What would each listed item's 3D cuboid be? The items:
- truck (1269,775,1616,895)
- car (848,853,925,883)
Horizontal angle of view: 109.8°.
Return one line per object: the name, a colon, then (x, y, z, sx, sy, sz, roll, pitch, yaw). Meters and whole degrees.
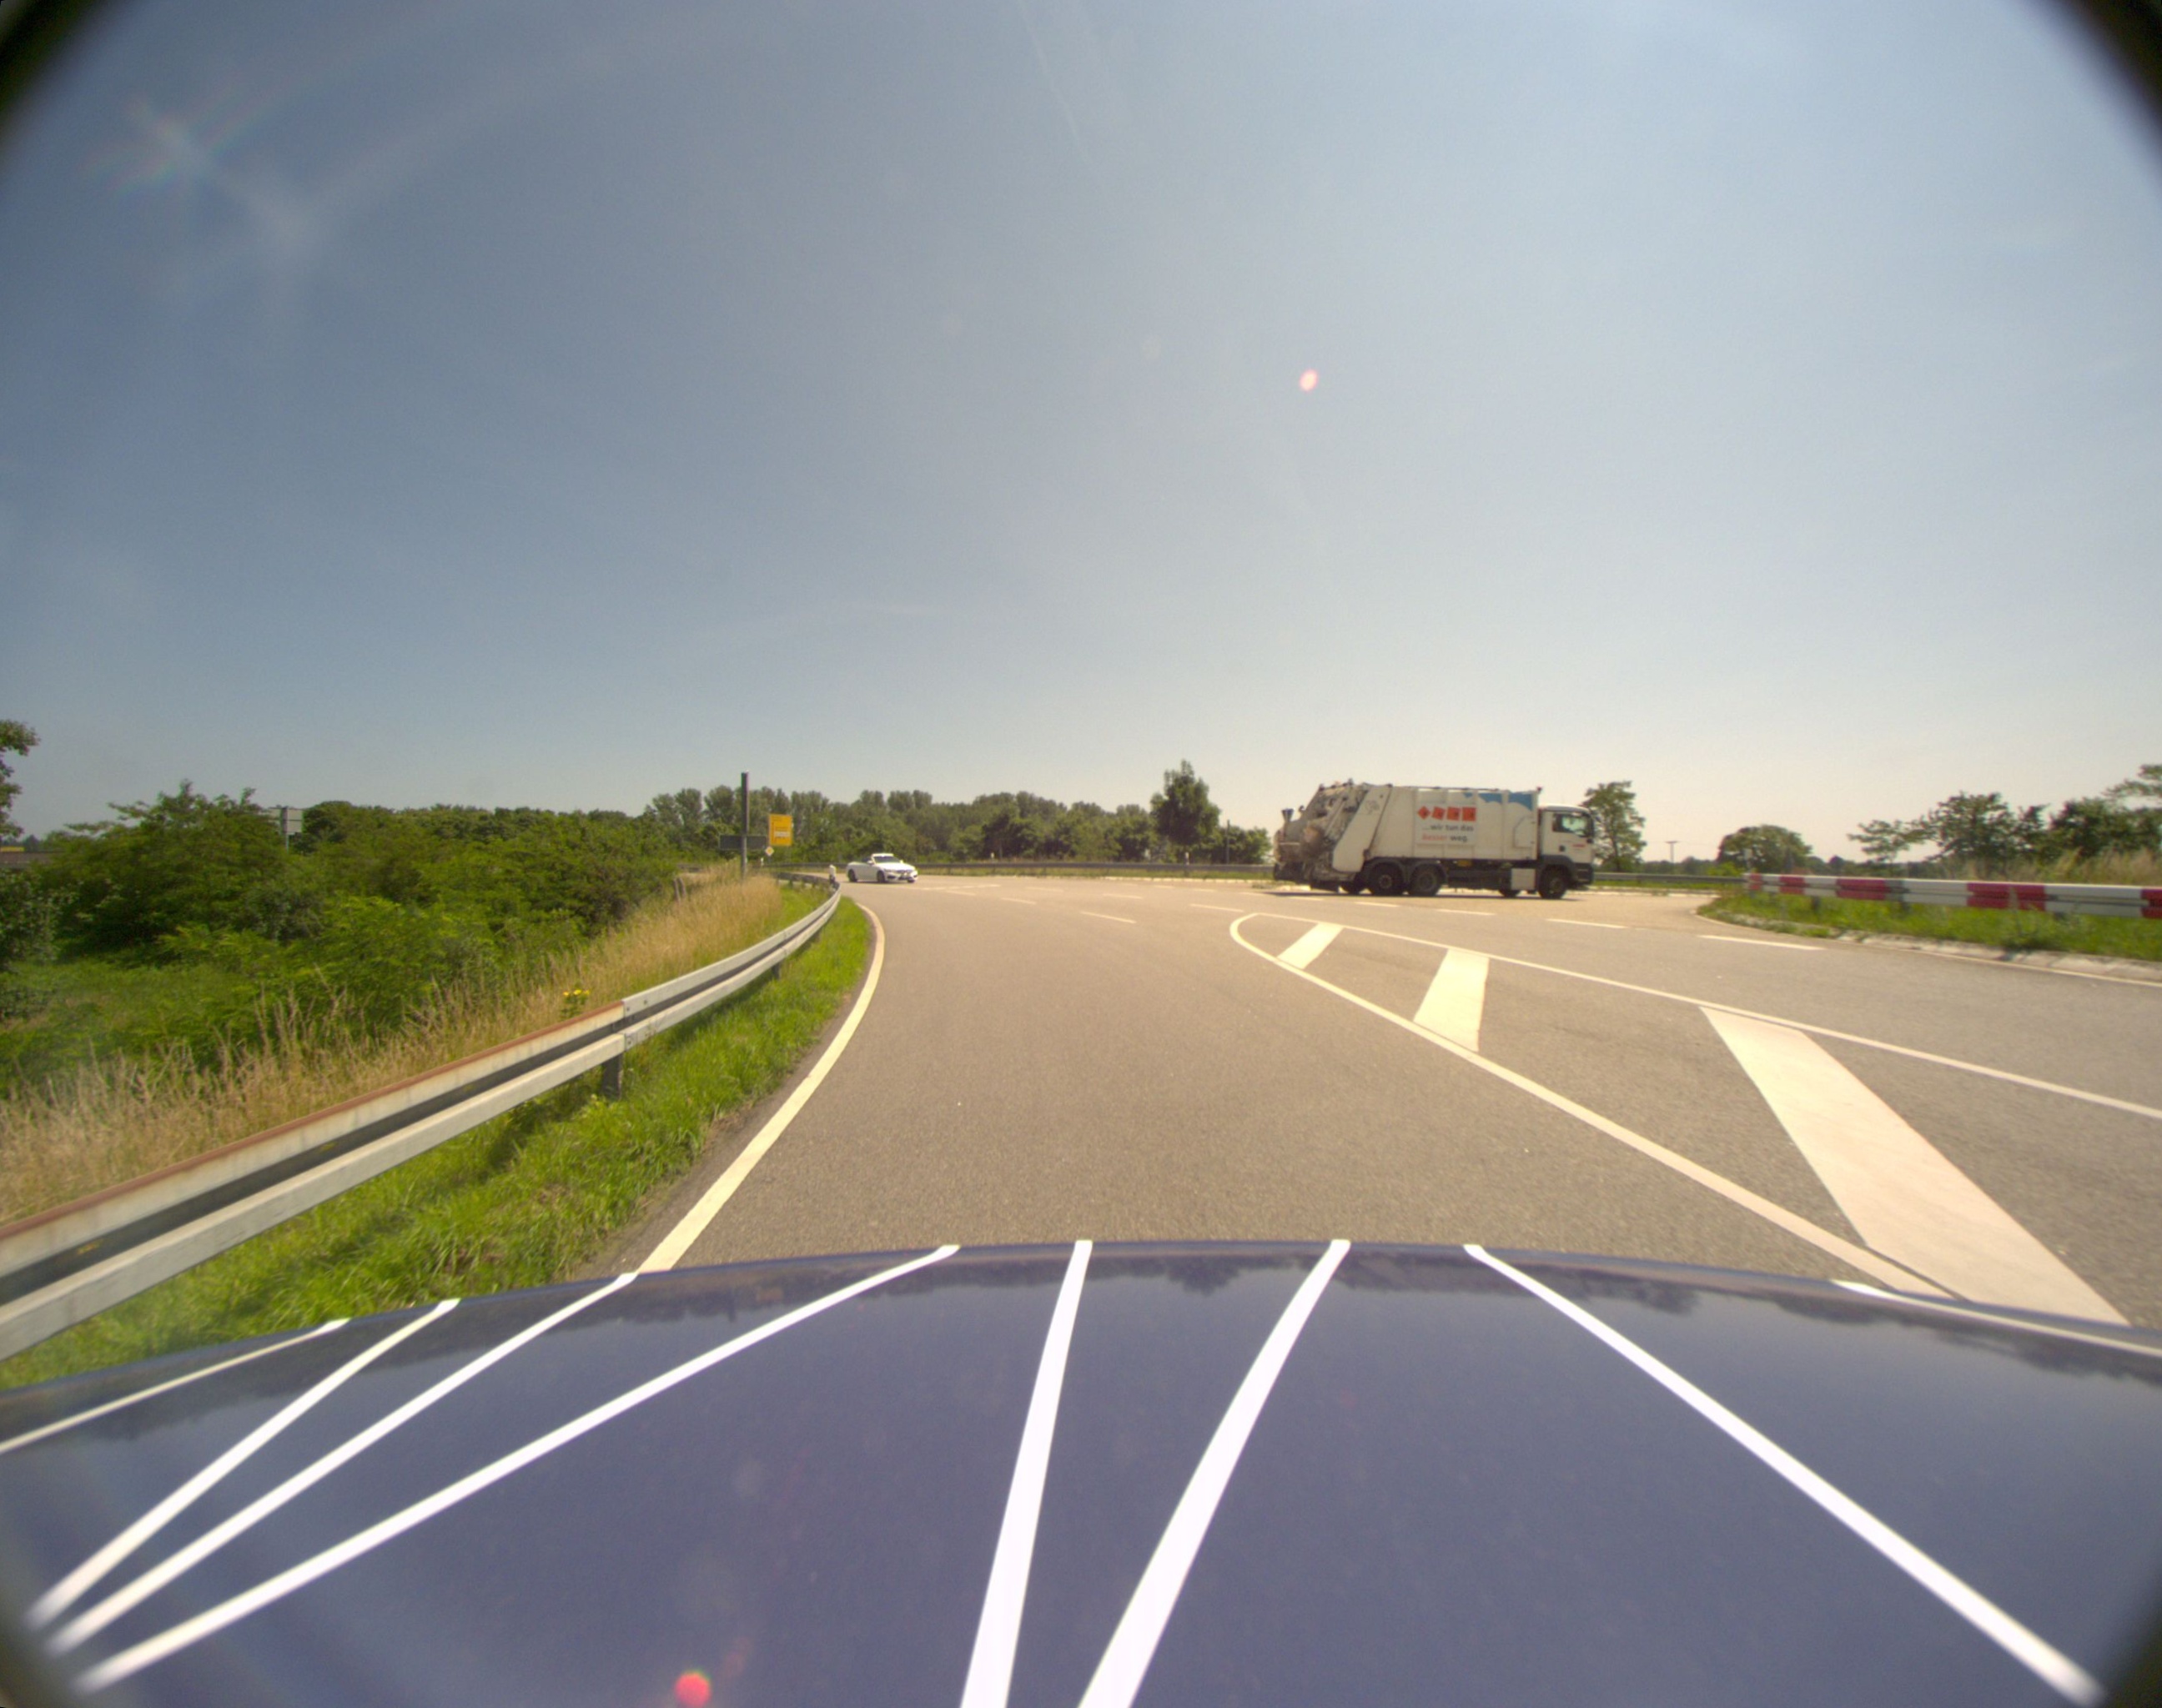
truck: (11.417, -0.561, 24.578, 9.942, 3.647, 2.822, 0, 0, -2)
car: (-9.749, 0.693, 37.867, 4.098, 1.407, 1.818, -1, 0, 45)
